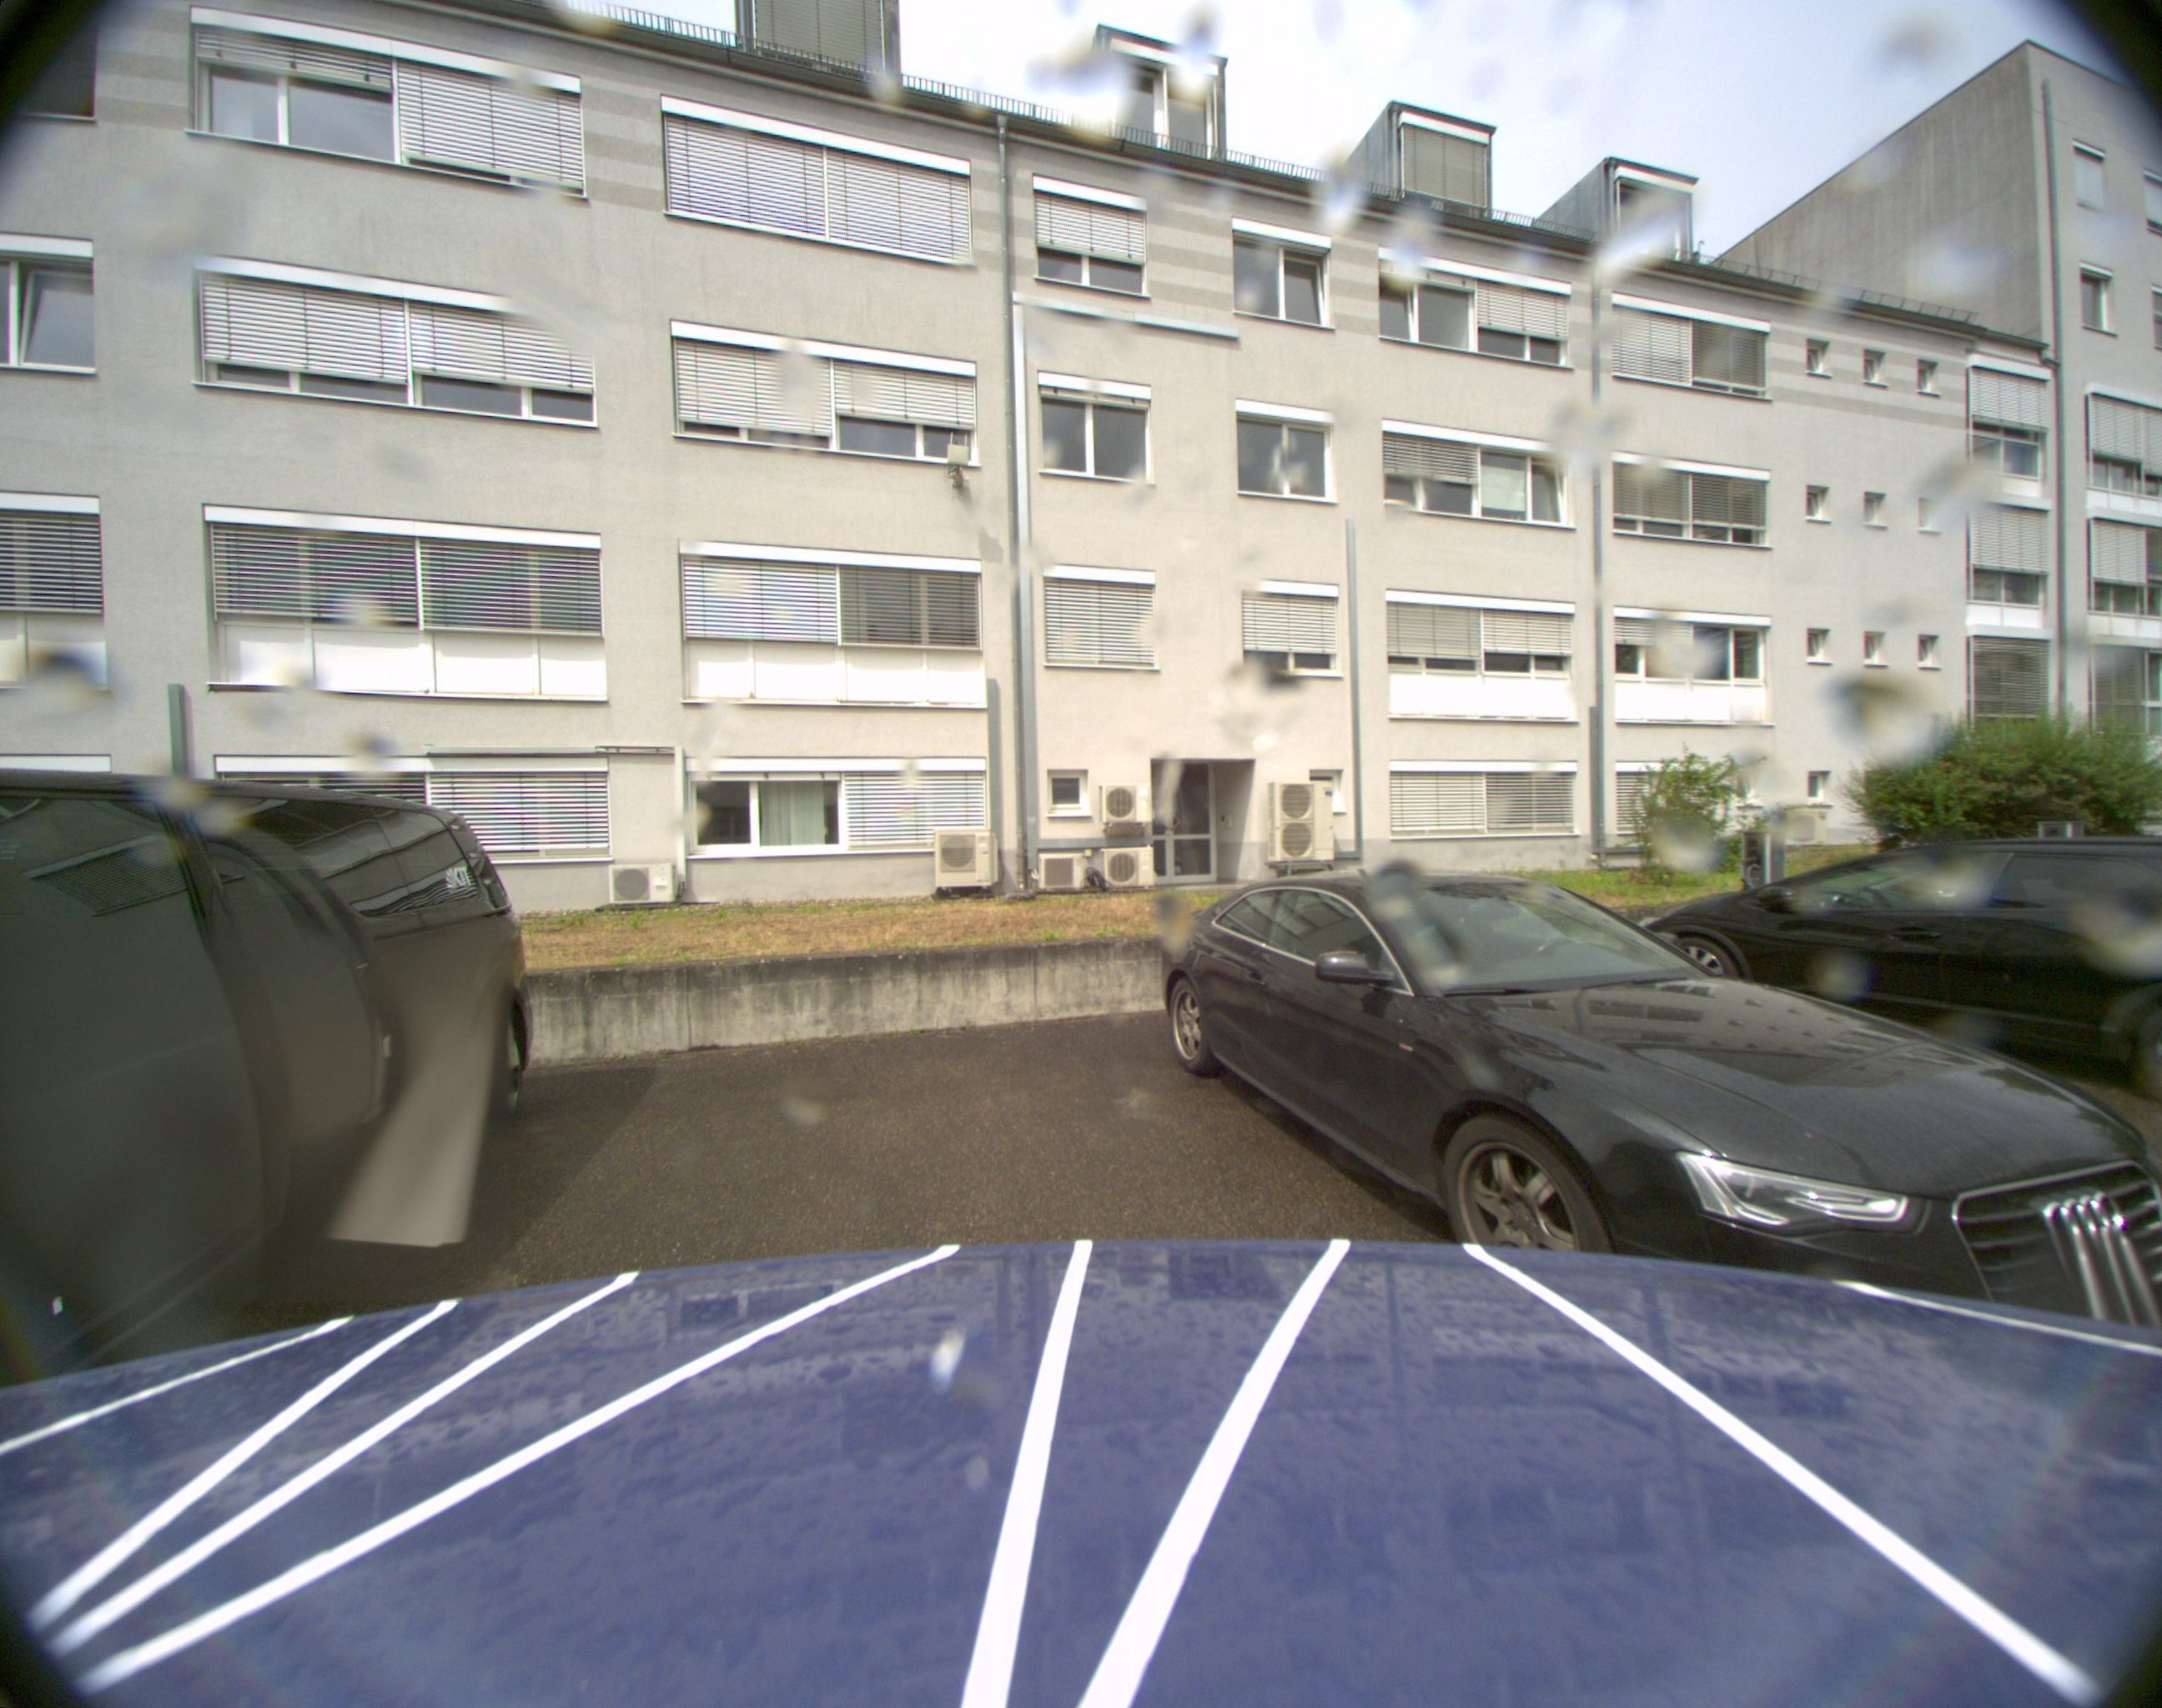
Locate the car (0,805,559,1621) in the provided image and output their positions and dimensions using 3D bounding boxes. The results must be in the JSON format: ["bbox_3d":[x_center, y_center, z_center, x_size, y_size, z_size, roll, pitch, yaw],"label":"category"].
[{"bbox_3d":[-3.657,0.833,2.243,1.971,1.854,4.740,-2,2,-16],"label":"car"}]

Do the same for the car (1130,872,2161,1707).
[{"bbox_3d":[1.803,0.898,3.795,1.764,1.344,4.522,-2,2,-14],"label":"car"}]

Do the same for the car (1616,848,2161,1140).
[{"bbox_3d":[6.282,0.738,5.057,1.764,1.434,4.309,-3,2,-15],"label":"car"}]

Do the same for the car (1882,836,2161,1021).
[{"bbox_3d":[9.575,0.597,6.035,1.697,1.434,4.119,-2,2,-14],"label":"car"}]
